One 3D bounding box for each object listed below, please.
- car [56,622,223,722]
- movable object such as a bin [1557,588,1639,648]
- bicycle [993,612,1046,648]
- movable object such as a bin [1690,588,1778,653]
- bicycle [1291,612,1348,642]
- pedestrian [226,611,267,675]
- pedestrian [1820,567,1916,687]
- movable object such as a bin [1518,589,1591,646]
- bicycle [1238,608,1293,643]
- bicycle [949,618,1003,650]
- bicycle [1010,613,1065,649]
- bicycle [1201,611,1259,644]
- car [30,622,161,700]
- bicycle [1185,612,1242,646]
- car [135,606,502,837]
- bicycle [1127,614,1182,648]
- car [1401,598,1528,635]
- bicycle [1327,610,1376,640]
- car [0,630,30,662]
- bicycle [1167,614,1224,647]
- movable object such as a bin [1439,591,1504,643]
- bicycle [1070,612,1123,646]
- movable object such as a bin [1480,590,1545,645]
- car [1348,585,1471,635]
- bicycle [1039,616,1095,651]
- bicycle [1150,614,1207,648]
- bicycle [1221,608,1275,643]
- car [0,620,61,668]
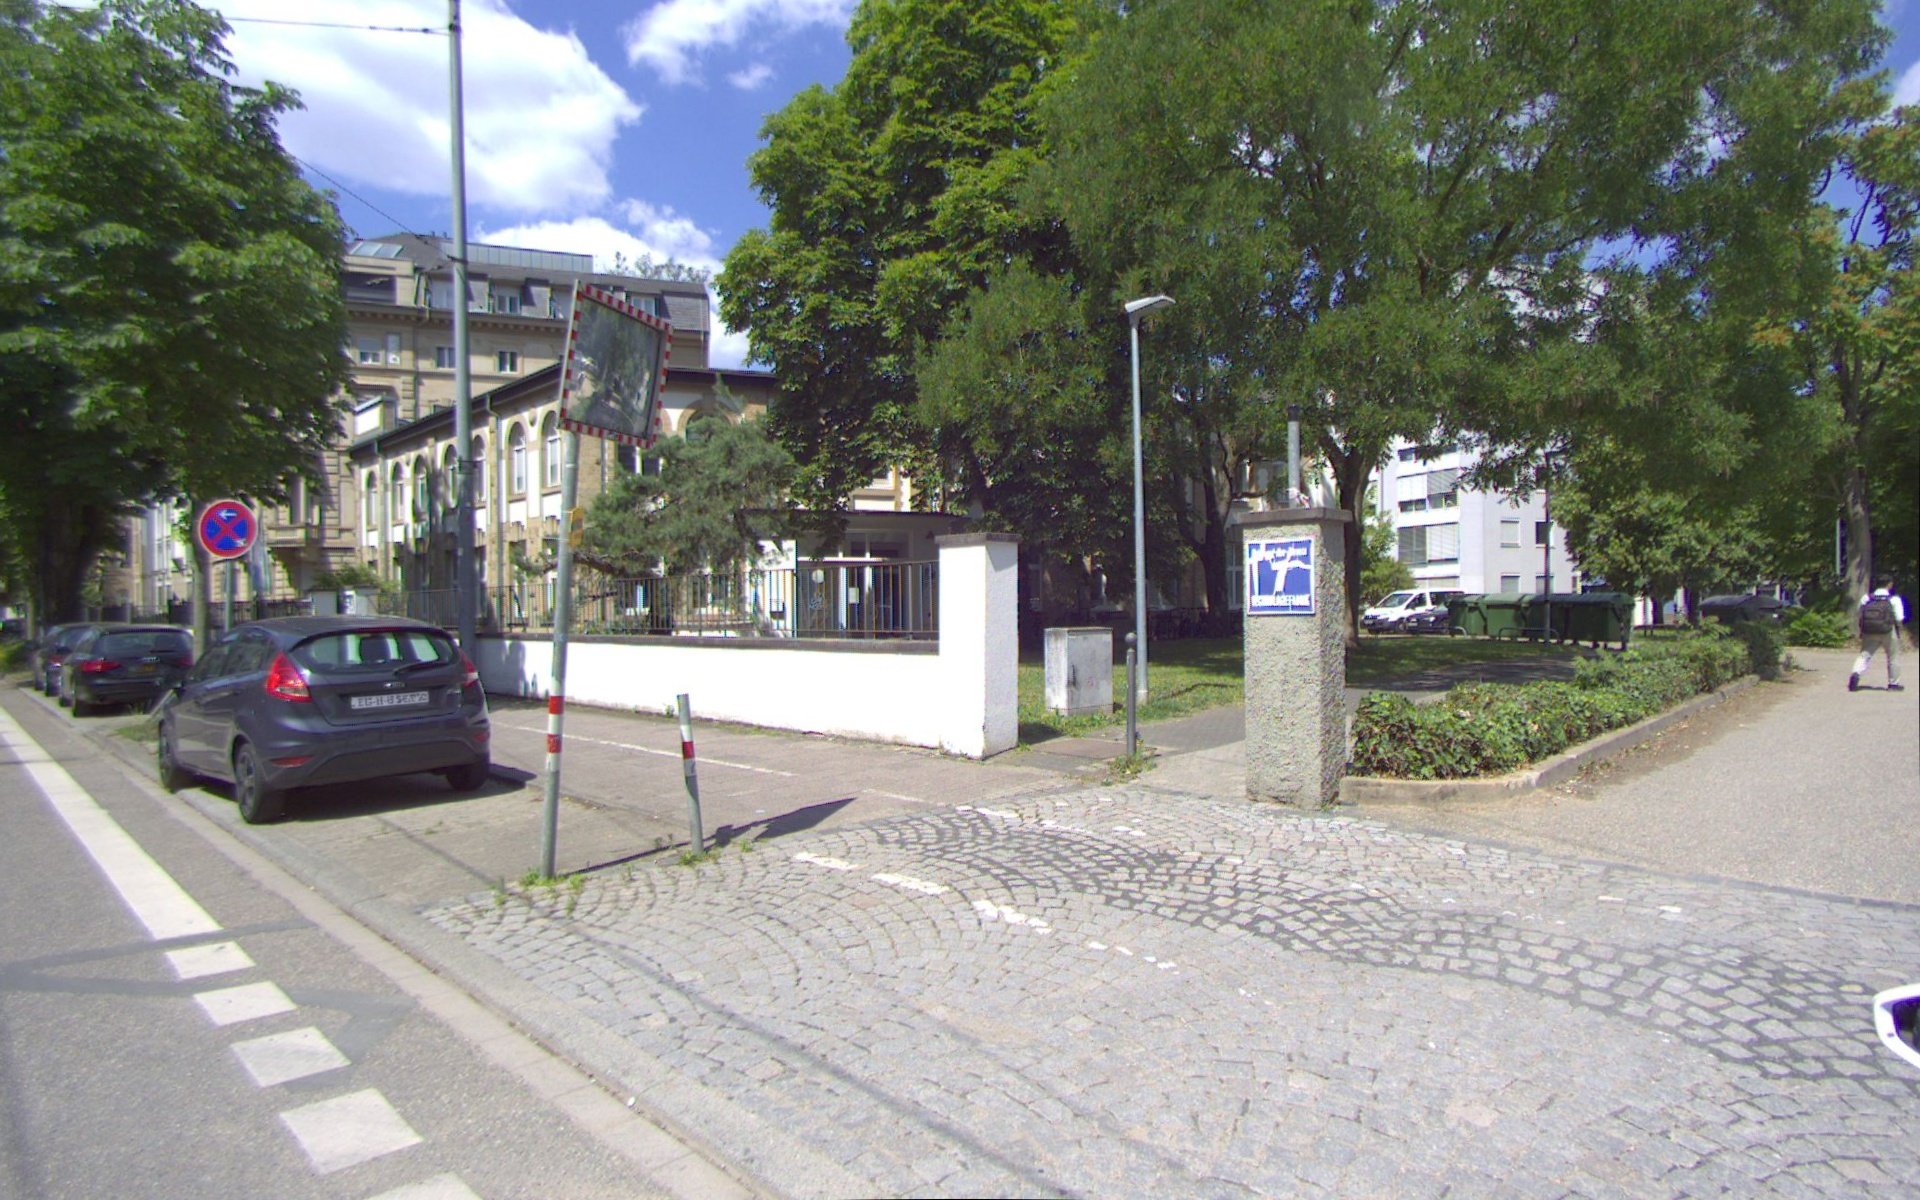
[{"bbox_3d":[-14.083,1.136,17.161,1.871,1.437,4.097,-1,0,-44],"label":"car"},{"bbox_3d":[16.533,0.467,26.055,1.190,1.499,1.318,-1,0,-21],"label":"movable object such as a bin"},{"bbox_3d":[1.747,0.888,30.115,0.562,1.025,2.245,-1,0,-26],"label":"bicycle"},{"bbox_3d":[17.371,0.458,22.574,1.093,1.412,1.161,-1,0,5],"label":"movable object such as a bin"},{"bbox_3d":[12.048,0.883,33.765,0.597,0.971,2.252,-1,0,-16],"label":"bicycle"},{"bbox_3d":[-18.137,1.087,25.540,0.733,1.588,0.693,-1,0,42],"label":"pedestrian"},{"bbox_3d":[13.759,0.388,15.223,1.069,1.752,0.868,-2,0,-36],"label":"pedestrian"},{"bbox_3d":[16.175,0.479,27.345,1.084,1.499,1.349,-1,0,-31],"label":"movable object such as a bin"},{"bbox_3d":[10.037,0.815,33.126,0.597,1.096,2.252,-1,0,-16],"label":"bicycle"},{"bbox_3d":[0.436,0.978,29.429,0.647,0.902,2.245,-1,0,-26],"label":"bicycle"},{"bbox_3d":[2.319,0.913,30.410,0.599,1.025,2.245,-1,0,-26],"label":"bicycle"},{"bbox_3d":[8.745,0.877,32.647,0.598,1.025,2.248,-1,0,-22],"label":"bicycle"},{"bbox_3d":[-18.650,1.238,21.618,1.939,1.463,3.724,-1,0,-44],"label":"car"},{"bbox_3d":[8.152,0.920,32.387,0.598,1.025,2.248,-1,0,-22],"label":"bicycle"},{"bbox_3d":[-5.556,0.865,8.535,3.671,1.476,1.581,-2,1,41],"label":"car"},{"bbox_3d":[6.098,0.967,31.653,0.598,1.025,2.248,-1,0,-22],"label":"bicycle"},{"bbox_3d":[20.011,0.636,39.844,4.554,1.370,1.826,-1,0,-19],"label":"car"},{"bbox_3d":[13.207,0.845,33.912,0.604,0.971,1.724,-1,0,-16],"label":"bicycle"},{"bbox_3d":[-47.859,2.303,50.170,1.797,1.498,3.954,-1,0,-40],"label":"car"},{"bbox_3d":[7.521,0.955,32.190,0.598,1.025,2.248,-1,0,-22],"label":"bicycle"},{"bbox_3d":[15.305,0.508,30.098,1.031,1.499,1.404,-1,0,-18],"label":"movable object such as a bin"},{"bbox_3d":[4.178,0.877,31.014,0.598,1.025,2.248,-1,0,-22],"label":"bicycle"},{"bbox_3d":[15.759,0.493,28.682,1.031,1.499,1.257,-1,0,-18],"label":"movable object such as a bin"},{"bbox_3d":[19.187,0.430,42.903,4.700,2.040,1.992,-1,-1,-19],"label":"car"},{"bbox_3d":[3.239,0.995,30.639,0.599,1.025,2.245,-1,0,-26],"label":"bicycle"},{"bbox_3d":[6.925,0.961,31.954,0.598,1.025,2.248,-1,0,-22],"label":"bicycle"},{"bbox_3d":[9.425,0.829,32.964,0.597,1.096,2.252,-1,0,-16],"label":"bicycle"},{"bbox_3d":[-34.314,1.573,36.915,1.715,1.636,3.954,-1,0,-39],"label":"car"}]
